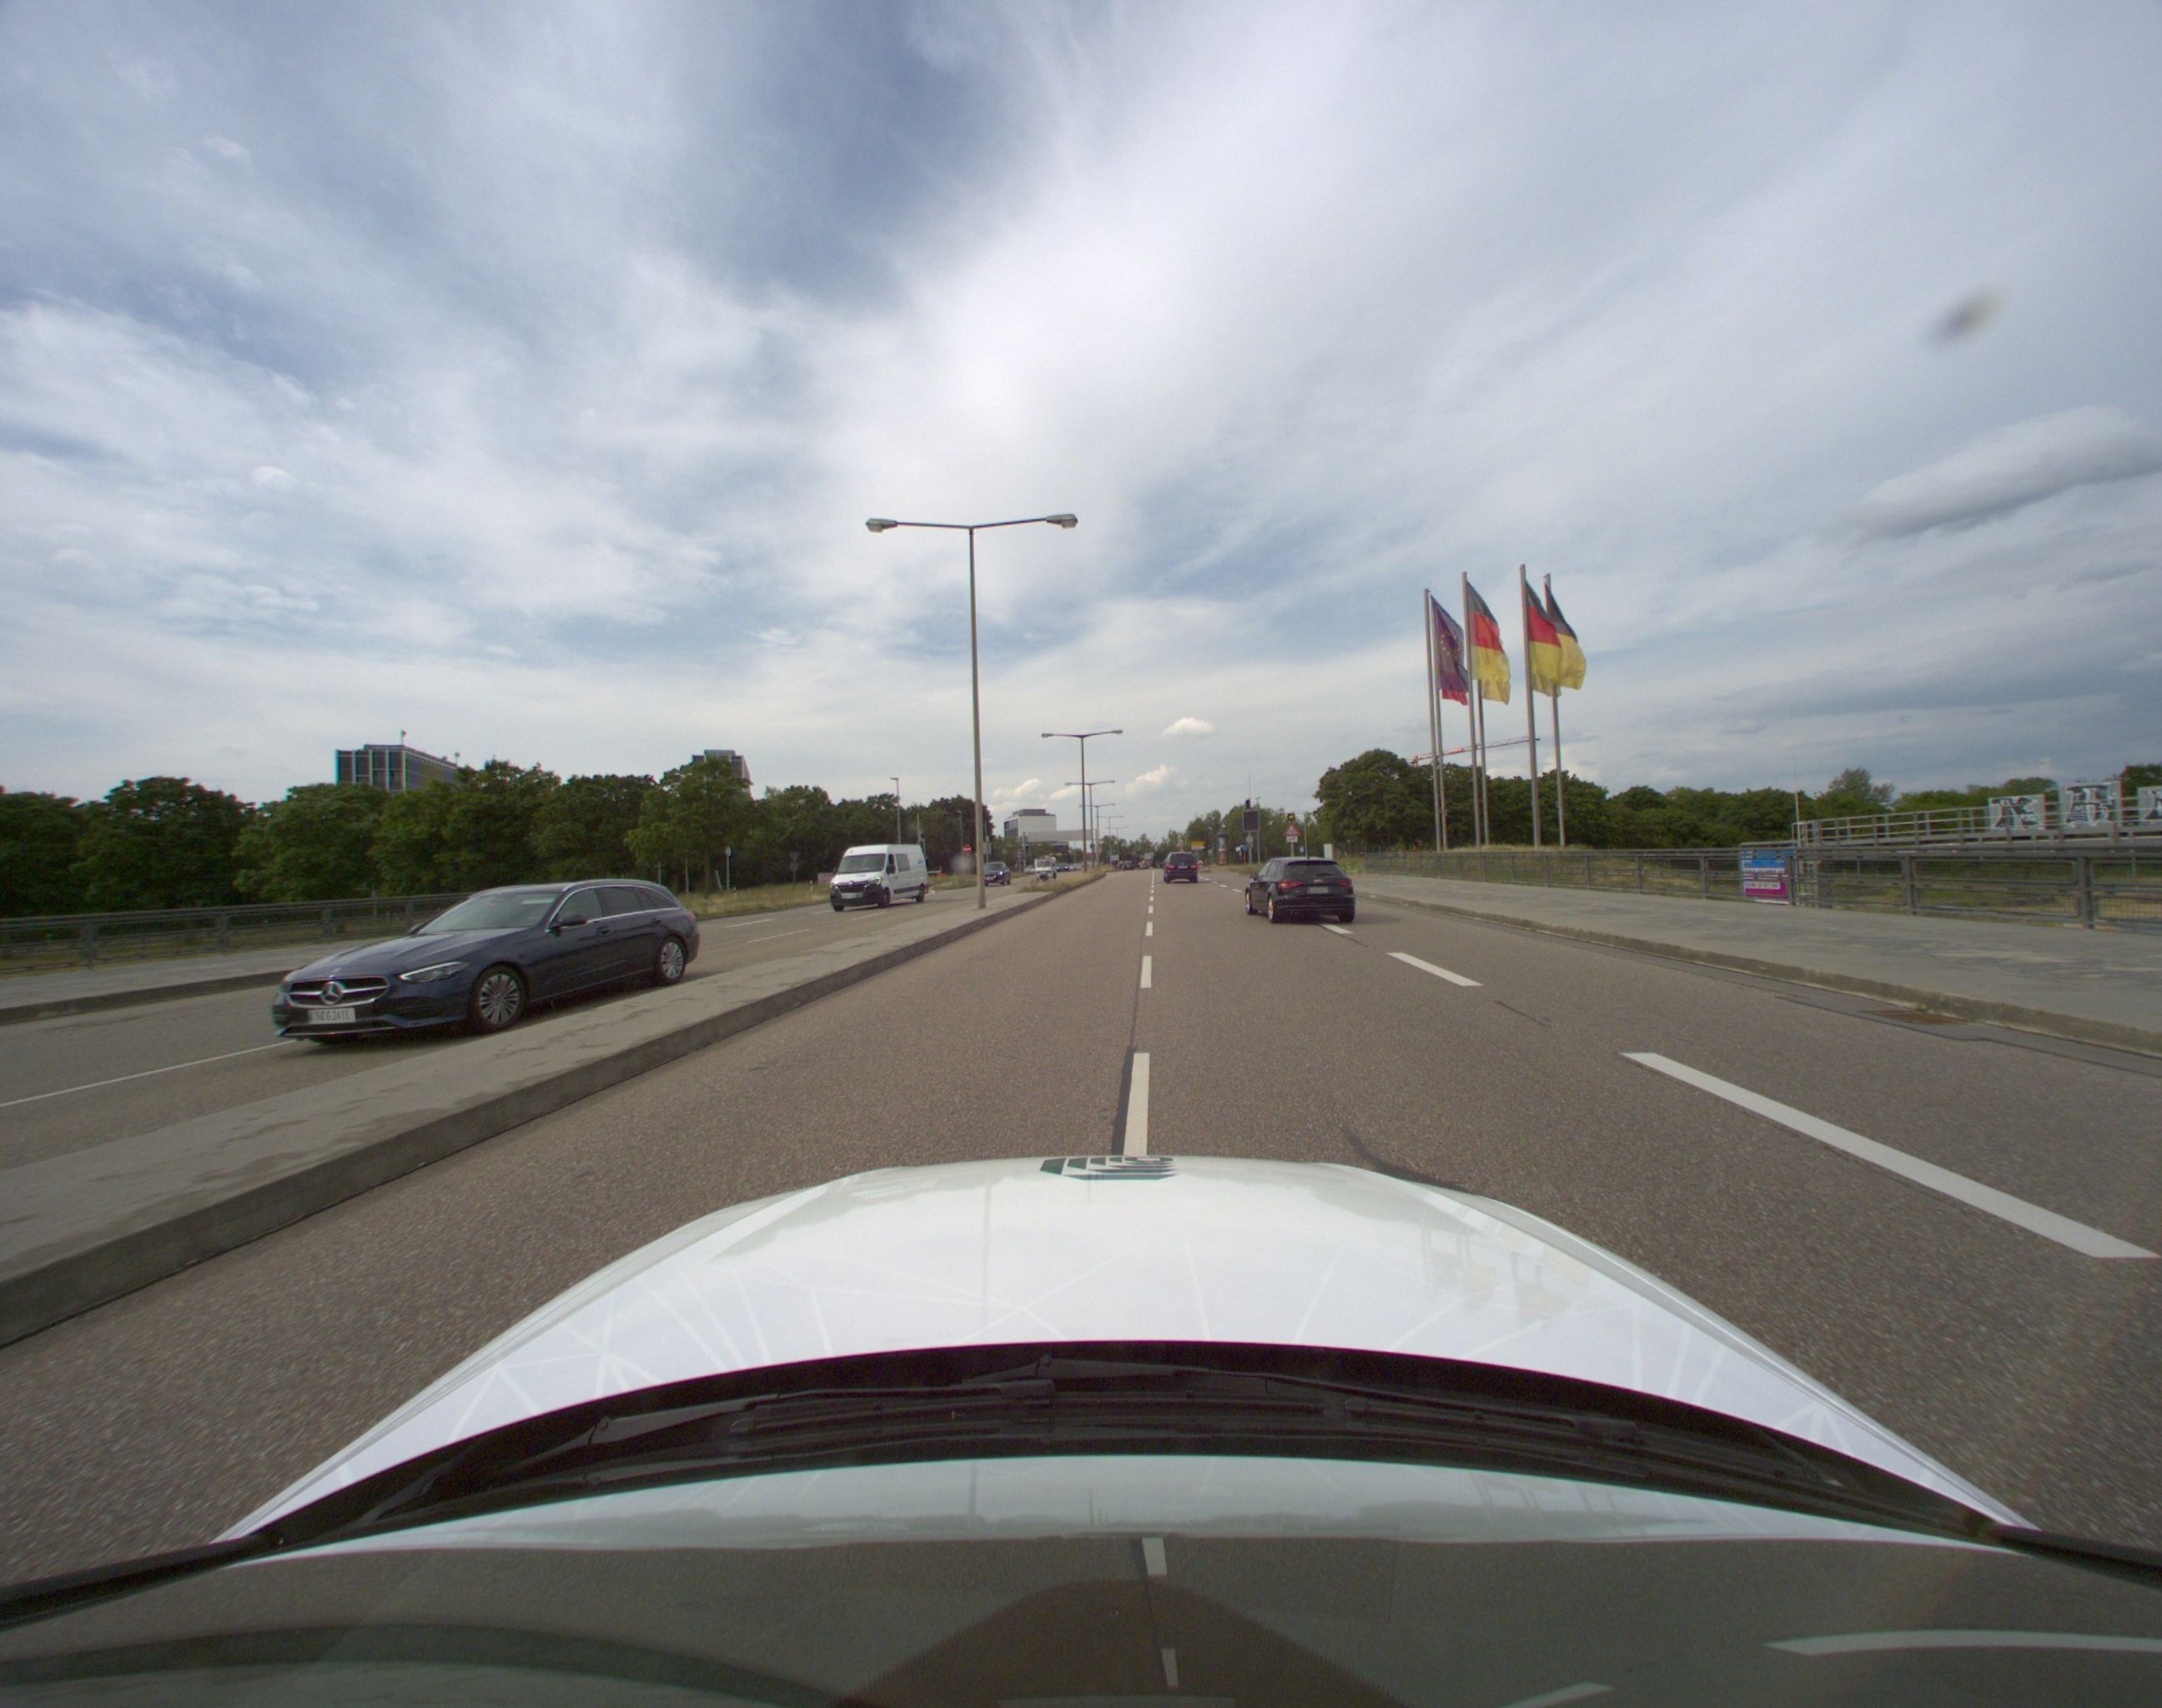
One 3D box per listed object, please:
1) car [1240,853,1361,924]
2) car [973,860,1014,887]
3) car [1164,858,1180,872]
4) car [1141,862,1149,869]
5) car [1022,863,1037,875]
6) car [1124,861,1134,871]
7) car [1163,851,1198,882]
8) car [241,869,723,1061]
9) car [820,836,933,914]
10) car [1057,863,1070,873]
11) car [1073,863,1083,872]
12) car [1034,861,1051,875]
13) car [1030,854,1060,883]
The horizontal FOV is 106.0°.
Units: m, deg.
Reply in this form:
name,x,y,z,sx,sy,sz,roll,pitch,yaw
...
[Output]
name,x,y,z,sx,sy,sz,roll,pitch,yaw
car,4.835,0.721,18.514,1.724,1.395,4.116,-2,-1,2
car,-6.010,1.327,56.415,1.738,1.585,4.594,-4,0,6
car,11.029,1.304,99.189,1.723,1.653,4.119,-1,-1,4
car,13.837,2.522,176.171,1.723,1.526,4.119,-1,-1,4
car,-8.048,2.350,127.325,1.986,1.750,4.002,-1,0,2
car,8.070,2.050,137.005,1.723,1.653,4.119,-1,-1,4
car,5.619,0.723,46.507,1.723,1.653,4.119,-1,-1,4
car,-6.312,1.024,9.513,1.730,1.480,4.782,-4,0,5
car,-7.886,0.729,32.319,2.042,2.643,6.412,-4,0,7
car,-2.865,2.180,131.842,1.738,1.475,4.568,-3,0,3
car,-0.639,2.776,169.928,1.738,1.598,4.567,-3,0,2
car,-4.789,1.741,101.901,1.644,1.574,4.341,-4,-1,3
car,-2.585,1.026,59.247,1.532,1.871,3.576,-4,0,6
